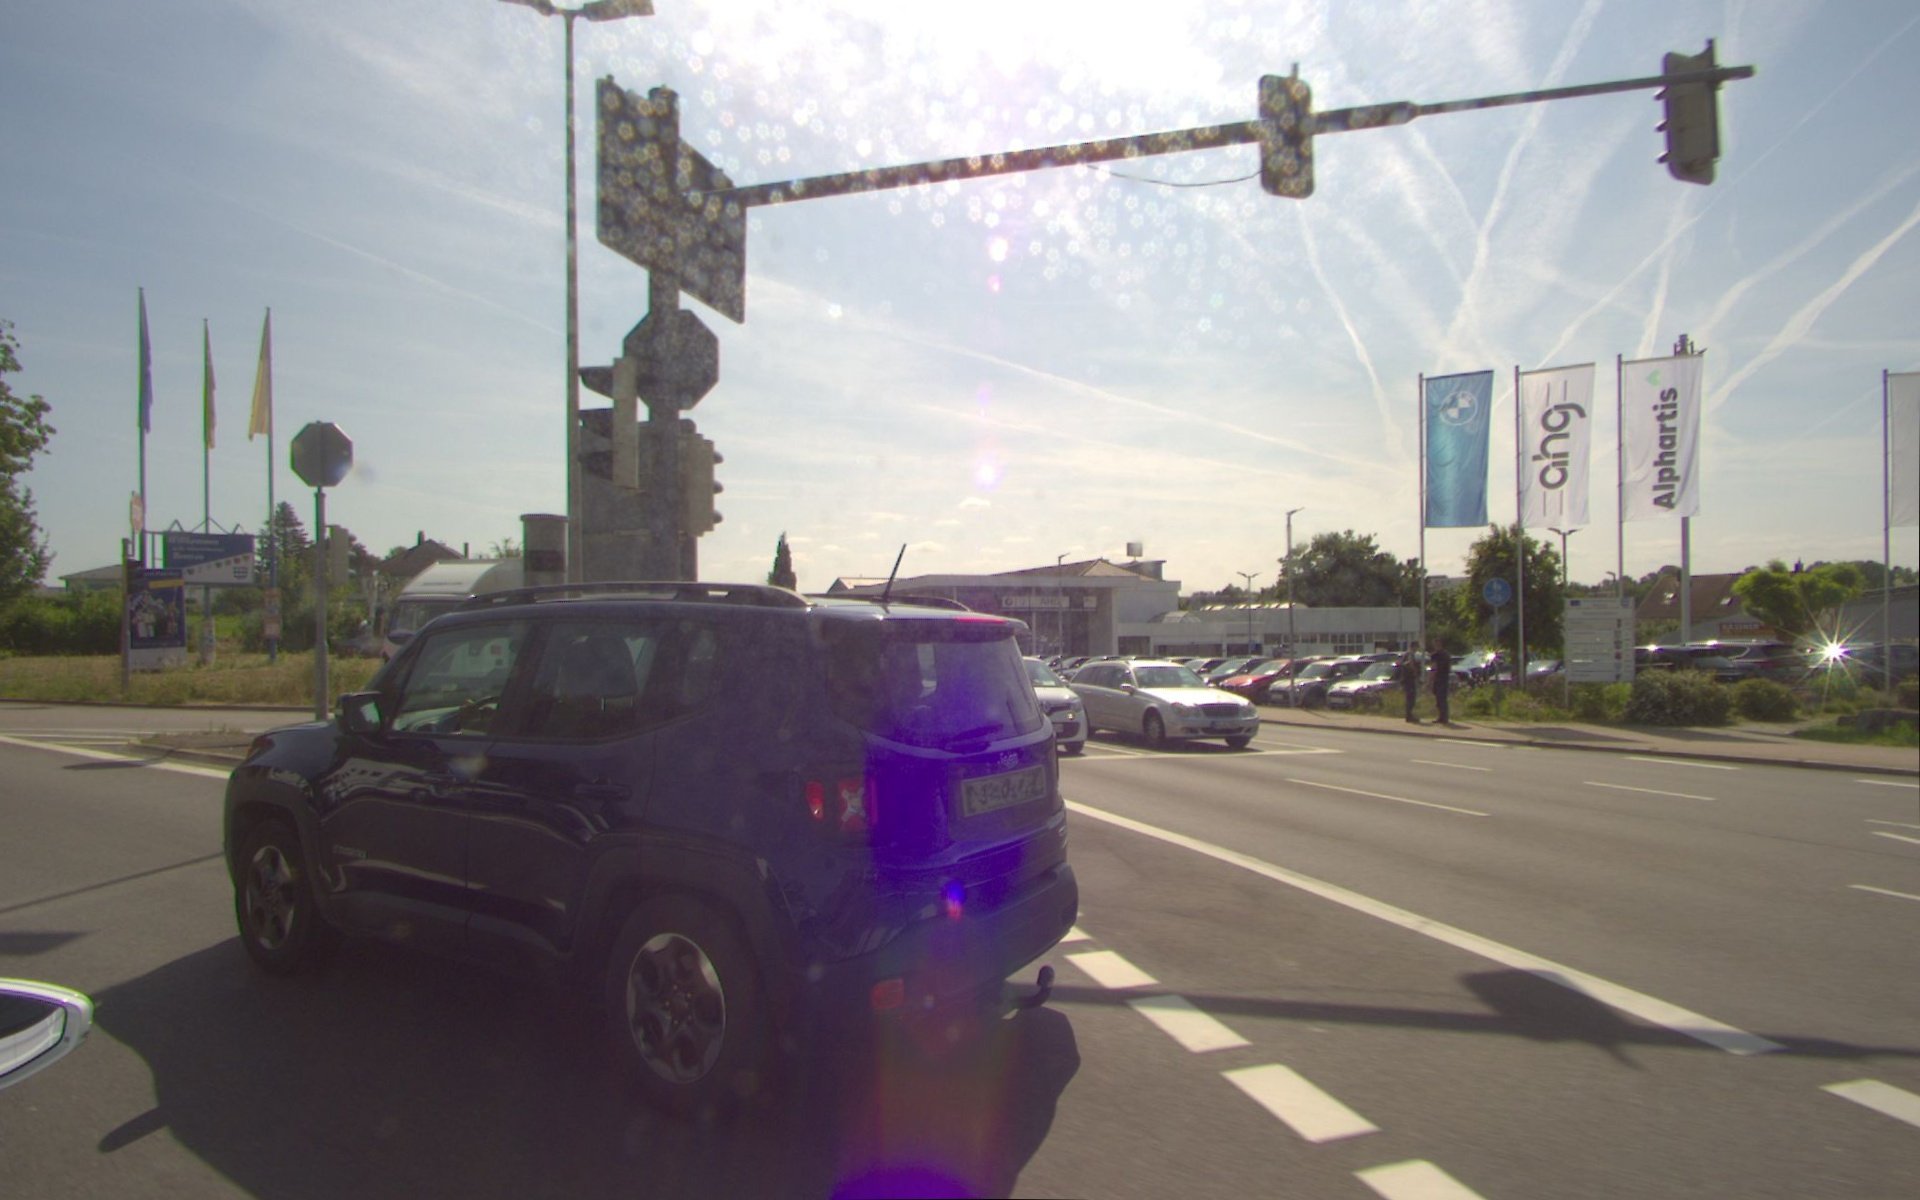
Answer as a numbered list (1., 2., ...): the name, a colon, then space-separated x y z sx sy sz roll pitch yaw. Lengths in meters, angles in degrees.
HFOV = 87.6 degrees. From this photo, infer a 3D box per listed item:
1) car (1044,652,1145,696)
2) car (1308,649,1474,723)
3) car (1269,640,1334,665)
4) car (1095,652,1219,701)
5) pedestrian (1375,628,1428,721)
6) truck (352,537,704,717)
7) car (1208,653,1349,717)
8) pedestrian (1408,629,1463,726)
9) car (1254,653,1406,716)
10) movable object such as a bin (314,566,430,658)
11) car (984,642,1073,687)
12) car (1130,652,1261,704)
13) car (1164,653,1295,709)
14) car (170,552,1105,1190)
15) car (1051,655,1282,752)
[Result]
1. car: 5.904 3.209 43.936 3.864 1.639 2.084 -1 0 -25
2. car: 11.828 2.297 27.507 3.932 1.746 1.995 -1 0 -21
3. car: 24.543 3.750 71.957 4.117 1.639 2.004 -1 0 -19
4. car: 7.760 2.969 39.383 4.403 1.639 2.084 -1 0 -25
5. pedestrian: 9.895 1.654 22.454 0.653 2.039 0.876 0 -1 -21
6. truck: -10.177 1.014 25.391 2.716 3.670 9.707 0 -5 14
7. car: 10.172 2.673 32.067 3.932 1.751 1.995 -1 0 -21
8. pedestrian: 10.230 1.644 21.561 0.653 2.039 0.876 0 -1 -21
9. car: 10.985 2.464 29.774 3.932 1.595 1.995 -1 0 -21
10. movable object such as a bin: -22.629 0.451 38.898 2.853 3.250 6.685 -1 0 -22
11. car: 3.454 3.220 50.859 4.017 2.062 2.061 -1 0 -25
12. car: 8.700 2.850 37.064 4.406 1.639 1.993 -1 0 -23
13. car: 9.267 2.731 34.450 3.932 1.639 1.995 -1 0 -21
14. car: -1.539 0.739 4.407 3.942 1.676 1.767 -1 0 31
15. car: 3.558 1.801 18.449 1.965 1.523 4.994 1 -4 -18
